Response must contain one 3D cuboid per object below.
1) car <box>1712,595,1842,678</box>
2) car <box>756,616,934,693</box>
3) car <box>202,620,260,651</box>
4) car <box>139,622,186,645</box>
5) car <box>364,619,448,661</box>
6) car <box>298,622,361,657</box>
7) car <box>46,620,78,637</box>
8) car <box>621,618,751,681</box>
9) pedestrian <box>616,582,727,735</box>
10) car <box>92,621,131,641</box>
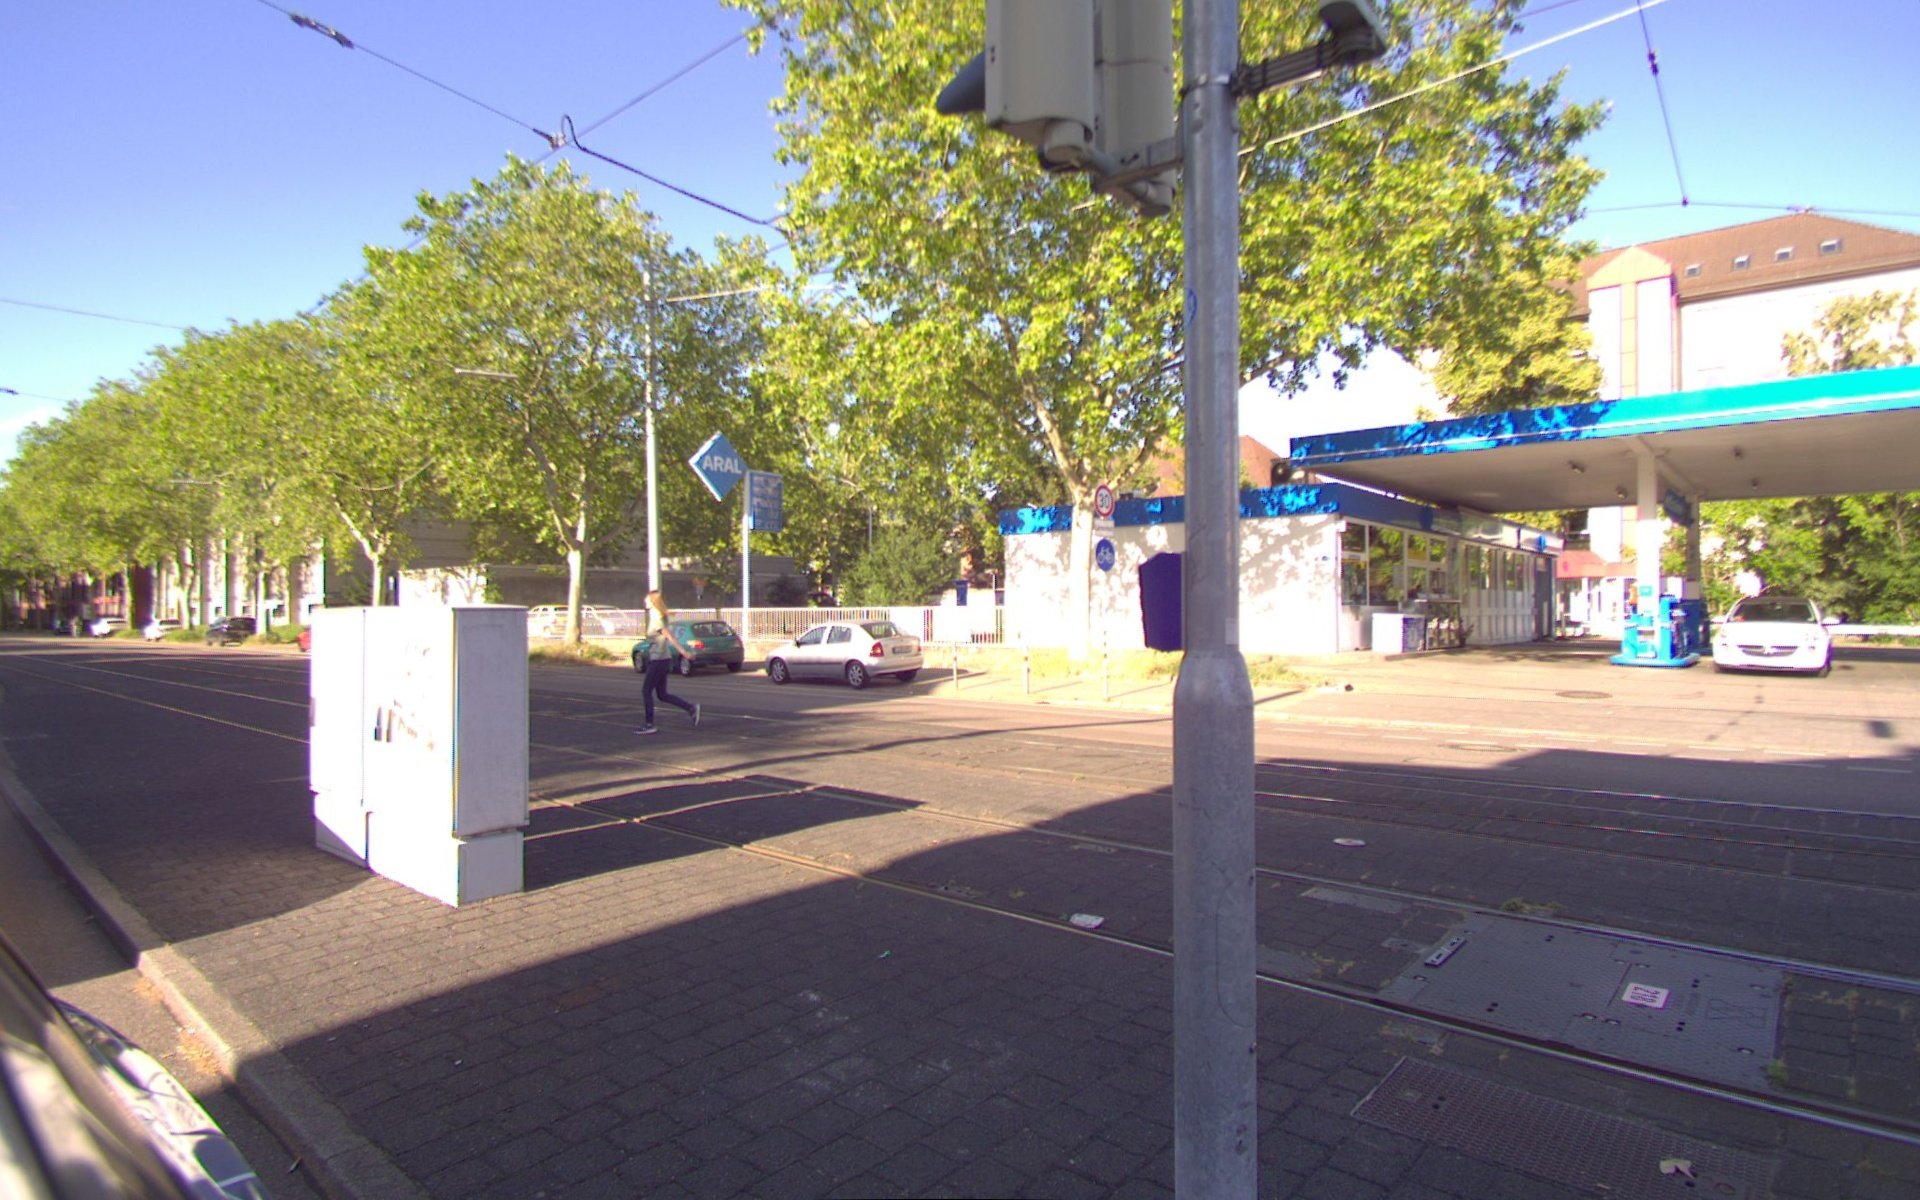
[{"bbox_3d":[16.024,0.677,19.906,1.812,1.453,3.947,-1,-1,39],"label":"car"},{"bbox_3d":[-2.633,1.157,22.660,3.965,1.475,1.771,-1,2,43],"label":"car"},{"bbox_3d":[-40.758,1.947,56.588,3.998,1.674,1.779,-1,-1,41],"label":"car"},{"bbox_3d":[-53.724,2.258,68.161,3.998,1.509,1.779,-1,-1,41],"label":"car"},{"bbox_3d":[-21.945,1.547,40.049,3.652,1.541,1.802,-1,-1,41],"label":"car"},{"bbox_3d":[-28.559,1.746,45.797,3.045,1.519,1.620,-1,-1,41],"label":"car"},{"bbox_3d":[-85.327,2.720,96.115,3.998,1.525,1.779,-1,-1,41],"label":"car"},{"bbox_3d":[-7.331,1.275,26.930,3.519,1.475,1.670,-1,2,43],"label":"car"},{"bbox_3d":[-3.273,0.649,11.548,1.082,1.674,0.696,-1,0,-3],"label":"pedestrian"},{"bbox_3d":[-66.688,2.392,79.527,3.998,1.525,1.779,-1,-1,41],"label":"car"}]
